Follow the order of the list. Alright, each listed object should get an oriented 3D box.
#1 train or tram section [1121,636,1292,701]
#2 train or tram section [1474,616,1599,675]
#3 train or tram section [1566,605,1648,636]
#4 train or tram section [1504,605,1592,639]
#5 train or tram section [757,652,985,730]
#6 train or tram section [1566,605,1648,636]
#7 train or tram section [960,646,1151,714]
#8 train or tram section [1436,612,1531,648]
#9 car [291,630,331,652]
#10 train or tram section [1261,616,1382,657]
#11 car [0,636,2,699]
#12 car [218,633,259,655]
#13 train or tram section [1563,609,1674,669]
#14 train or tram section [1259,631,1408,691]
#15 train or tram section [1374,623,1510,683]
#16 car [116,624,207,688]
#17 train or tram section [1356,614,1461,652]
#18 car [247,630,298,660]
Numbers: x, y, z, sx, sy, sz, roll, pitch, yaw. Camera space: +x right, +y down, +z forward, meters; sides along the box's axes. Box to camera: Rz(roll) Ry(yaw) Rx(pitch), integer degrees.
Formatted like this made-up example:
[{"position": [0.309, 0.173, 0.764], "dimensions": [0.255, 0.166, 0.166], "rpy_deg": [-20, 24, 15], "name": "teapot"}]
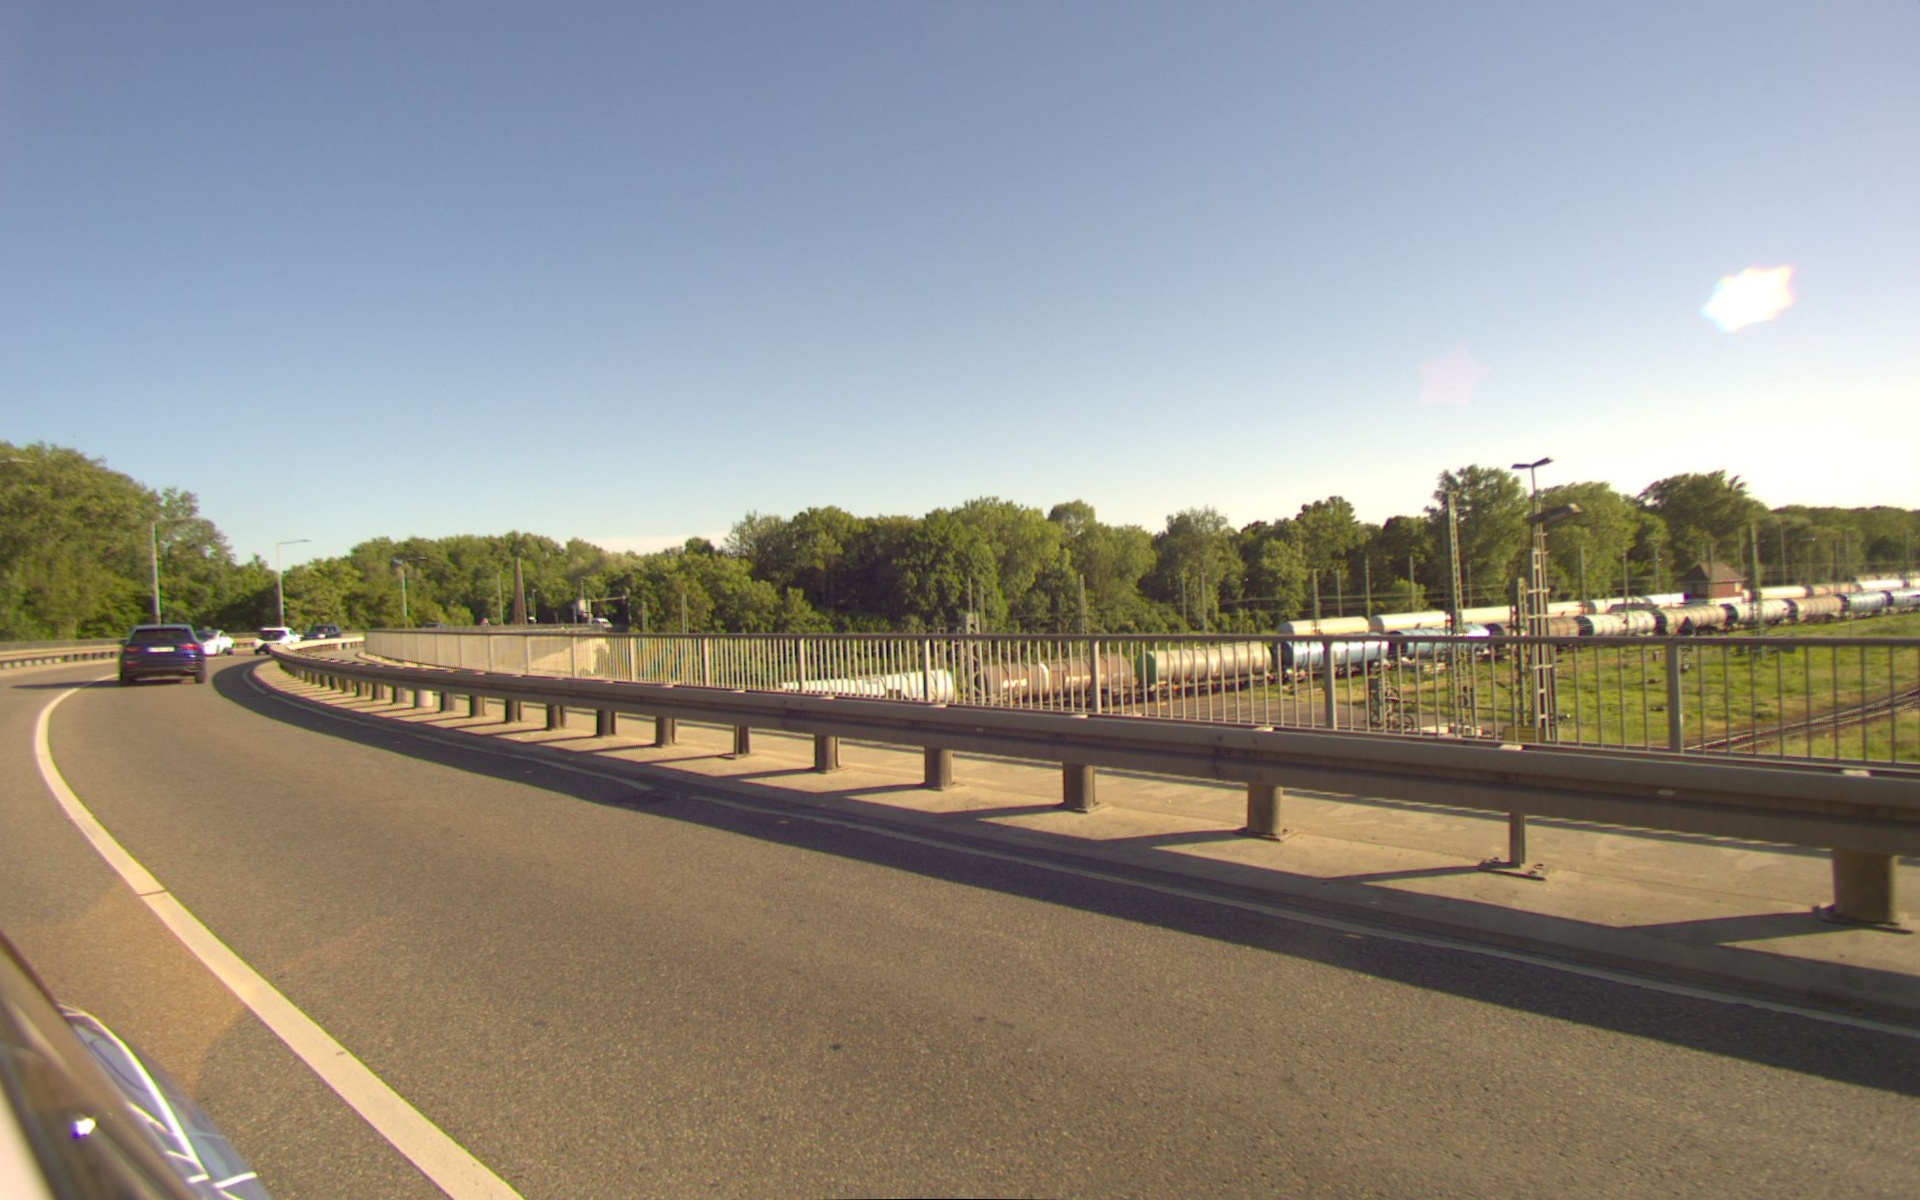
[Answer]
[{"position": [22.139, 5.915, 90.115], "dimensions": [16.381, 5.055, 3.918], "rpy_deg": [-1, -1, -29], "name": "train or tram section"}, {"position": [64.909, 4.989, 113.693], "dimensions": [16.669, 6.055, 3.918], "rpy_deg": [-1, -1, -29], "name": "train or tram section"}, {"position": [111.276, 3.471, 173.880], "dimensions": [17.562, 5.125, 4.061], "rpy_deg": [-1, -1, -30], "name": "train or tram section"}, {"position": [96.042, 3.554, 165.118], "dimensions": [17.562, 5.125, 4.061], "rpy_deg": [-1, -1, -30], "name": "train or tram section"}, {"position": [-6.278, 6.477, 74.401], "dimensions": [16.481, 4.626, 3.918], "rpy_deg": [-1, -1, -29], "name": "train or tram section"}, {"position": [111.246, 3.471, 173.880], "dimensions": [17.562, 5.125, 4.061], "rpy_deg": [-1, -1, -30], "name": "train or tram section"}, {"position": [7.963, 6.293, 82.285], "dimensions": [16.032, 4.626, 3.918], "rpy_deg": [-1, -1, -29], "name": "train or tram section"}, {"position": [80.899, 4.576, 156.267], "dimensions": [17.562, 5.125, 4.061], "rpy_deg": [-1, -1, -30], "name": "train or tram section"}, {"position": [-50.079, 3.147, 78.197], "dimensions": [1.890, 1.630, 3.754], "rpy_deg": [-1, -1, -21], "name": "car"}, {"position": [49.528, 4.863, 138.292], "dimensions": [19.022, 5.125, 4.061], "rpy_deg": [-1, -1, -30], "name": "train or tram section"}, {"position": [-21.462, 1.494, 21.045], "dimensions": [1.737, 1.447, 4.339], "rpy_deg": [0, -1, -37], "name": "car"}, {"position": [-51.313, 3.100, 72.044], "dimensions": [1.960, 1.484, 4.142], "rpy_deg": [0, -1, -30], "name": "car"}, {"position": [79.294, 4.544, 121.683], "dimensions": [16.221, 6.661, 3.918], "rpy_deg": [-1, -1, -29], "name": "train or tram section"}, {"position": [36.322, 5.728, 97.986], "dimensions": [16.085, 5.055, 3.918], "rpy_deg": [-1, -1, -29], "name": "train or tram section"}, {"position": [50.506, 5.377, 105.718], "dimensions": [16.221, 5.561, 3.918], "rpy_deg": [-1, -1, -29], "name": "train or tram section"}, {"position": [-21.632, 1.476, 27.534], "dimensions": [1.800, 1.564, 4.194], "rpy_deg": [0, -1, -36], "name": "car"}, {"position": [65.512, 4.718, 147.494], "dimensions": [17.877, 5.125, 4.061], "rpy_deg": [-1, -1, -30], "name": "train or tram section"}, {"position": [-38.404, 2.489, 56.611], "dimensions": [1.811, 1.530, 3.782], "rpy_deg": [-1, -1, -26], "name": "car"}]
